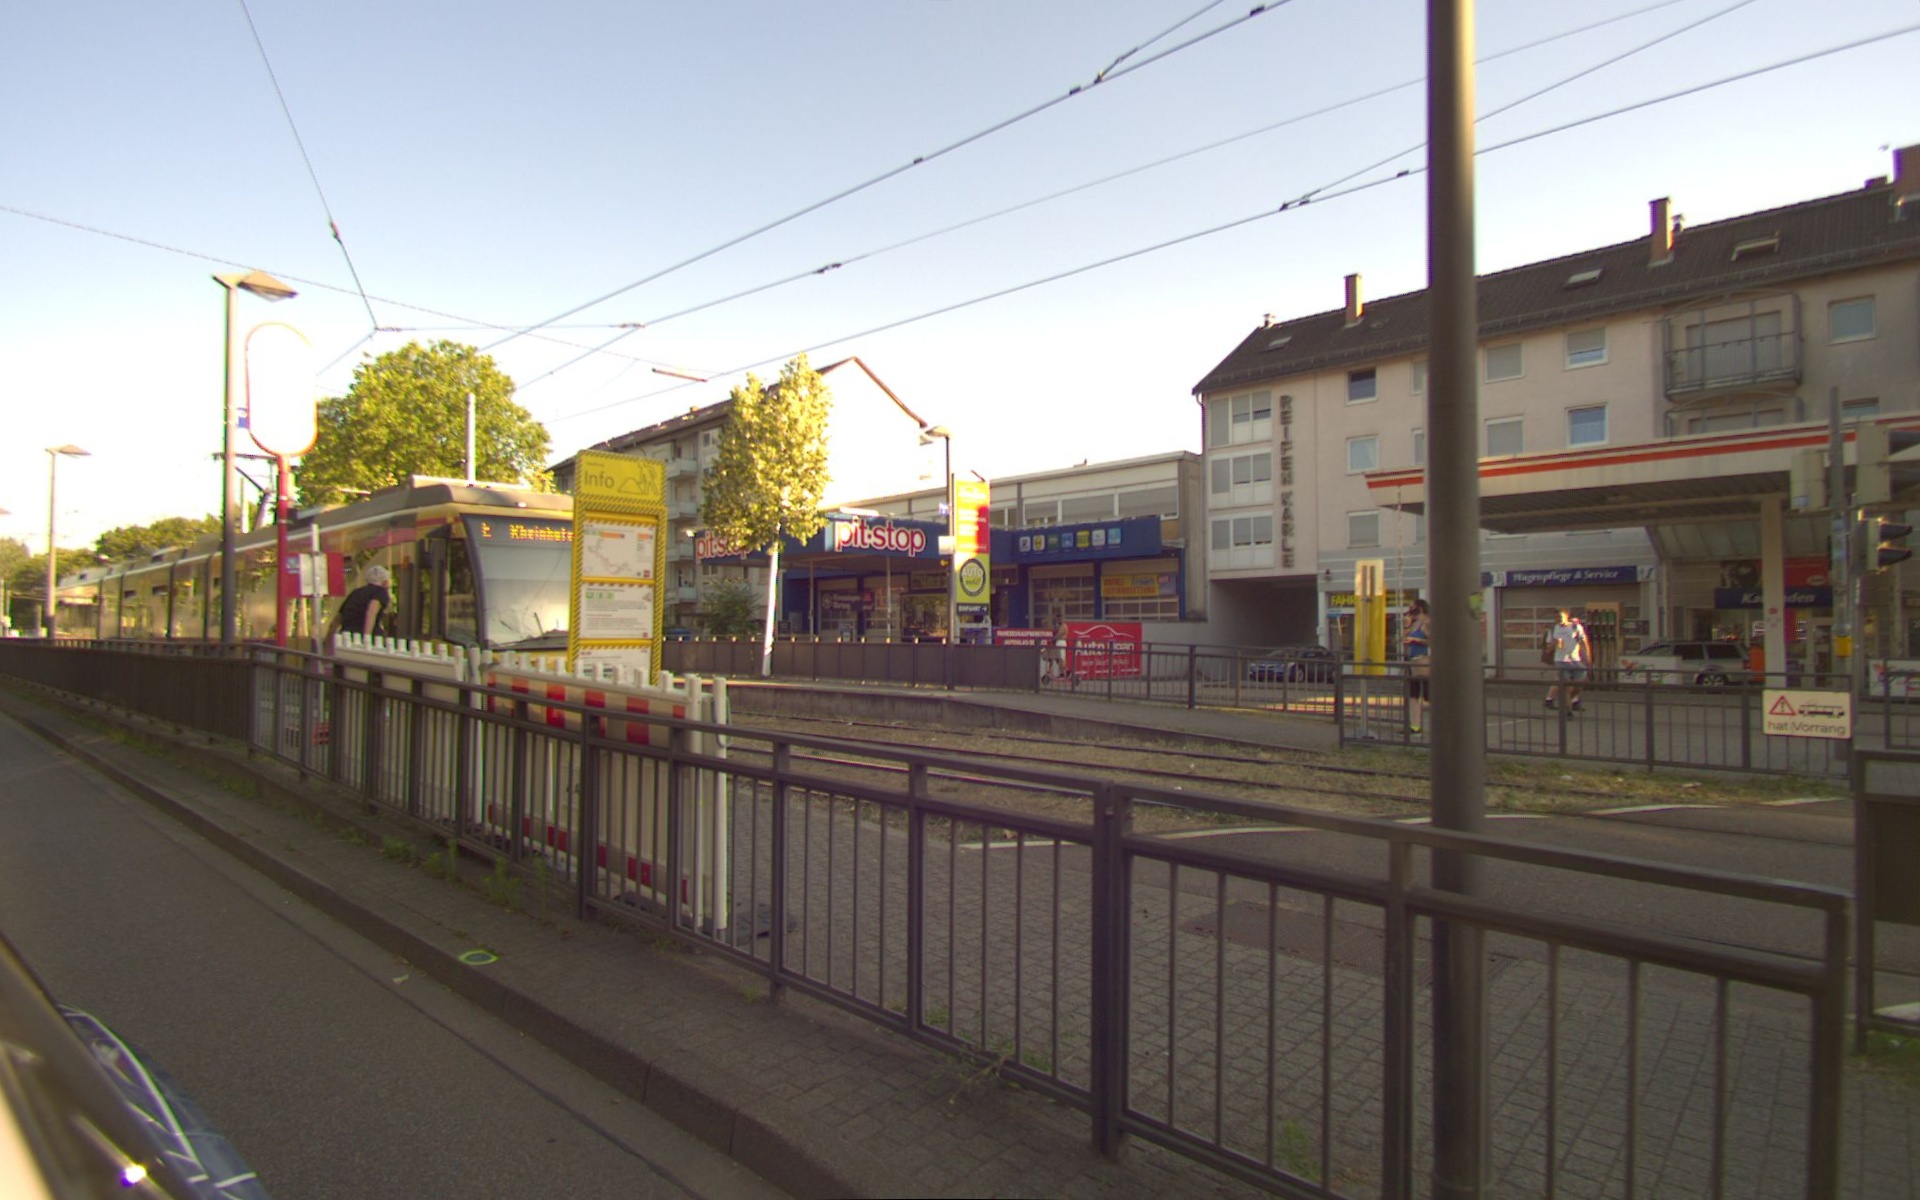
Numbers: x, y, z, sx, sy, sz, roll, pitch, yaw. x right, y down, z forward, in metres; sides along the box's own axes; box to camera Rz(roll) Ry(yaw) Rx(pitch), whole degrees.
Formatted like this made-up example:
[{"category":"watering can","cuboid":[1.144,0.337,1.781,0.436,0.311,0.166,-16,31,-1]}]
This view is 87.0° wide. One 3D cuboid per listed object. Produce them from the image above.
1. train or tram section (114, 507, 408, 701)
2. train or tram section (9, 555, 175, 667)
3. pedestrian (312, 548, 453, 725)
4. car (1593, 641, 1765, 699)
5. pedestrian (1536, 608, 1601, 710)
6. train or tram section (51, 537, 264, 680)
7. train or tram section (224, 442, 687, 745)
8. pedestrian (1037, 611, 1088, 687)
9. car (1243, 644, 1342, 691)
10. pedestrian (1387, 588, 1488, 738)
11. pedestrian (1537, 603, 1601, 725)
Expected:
[{"category":"train or tram section","cuboid":[-16.184,0.206,22.998,10.092,3.544,3.003,-1,-3,41]},{"category":"train or tram section","cuboid":[-31.345,0.479,36.352,10.092,3.544,3.003,-1,-3,41]},{"category":"pedestrian","cuboid":[-5.443,0.332,9.557,0.787,1.562,0.908,-2,-1,34]},{"category":"car","cuboid":[20.515,1.938,28.955,3.827,1.535,1.793,-2,-3,42]},{"category":"pedestrian","cuboid":[10.806,1.036,17.981,0.859,1.760,0.745,-2,-3,39]},{"category":"train or tram section","cuboid":[-23.761,0.350,29.675,10.092,3.544,3.003,-1,-3,41]},{"category":"train or tram section","cuboid":[-8.620,0.054,16.322,10.092,3.544,3.003,-1,-3,41]},{"category":"pedestrian","cuboid":[2.653,1.257,26.206,1.000,1.896,0.745,-2,0,41]},{"category":"car","cuboid":[11.791,2.337,35.778,1.819,1.535,3.751,-2,-3,45]},{"category":"pedestrian","cuboid":[5.537,0.709,11.801,0.919,1.666,0.931,-2,0,20]},{"category":"pedestrian","cuboid":[10.119,1.045,16.820,0.755,1.947,0.849,-2,-3,40]}]
